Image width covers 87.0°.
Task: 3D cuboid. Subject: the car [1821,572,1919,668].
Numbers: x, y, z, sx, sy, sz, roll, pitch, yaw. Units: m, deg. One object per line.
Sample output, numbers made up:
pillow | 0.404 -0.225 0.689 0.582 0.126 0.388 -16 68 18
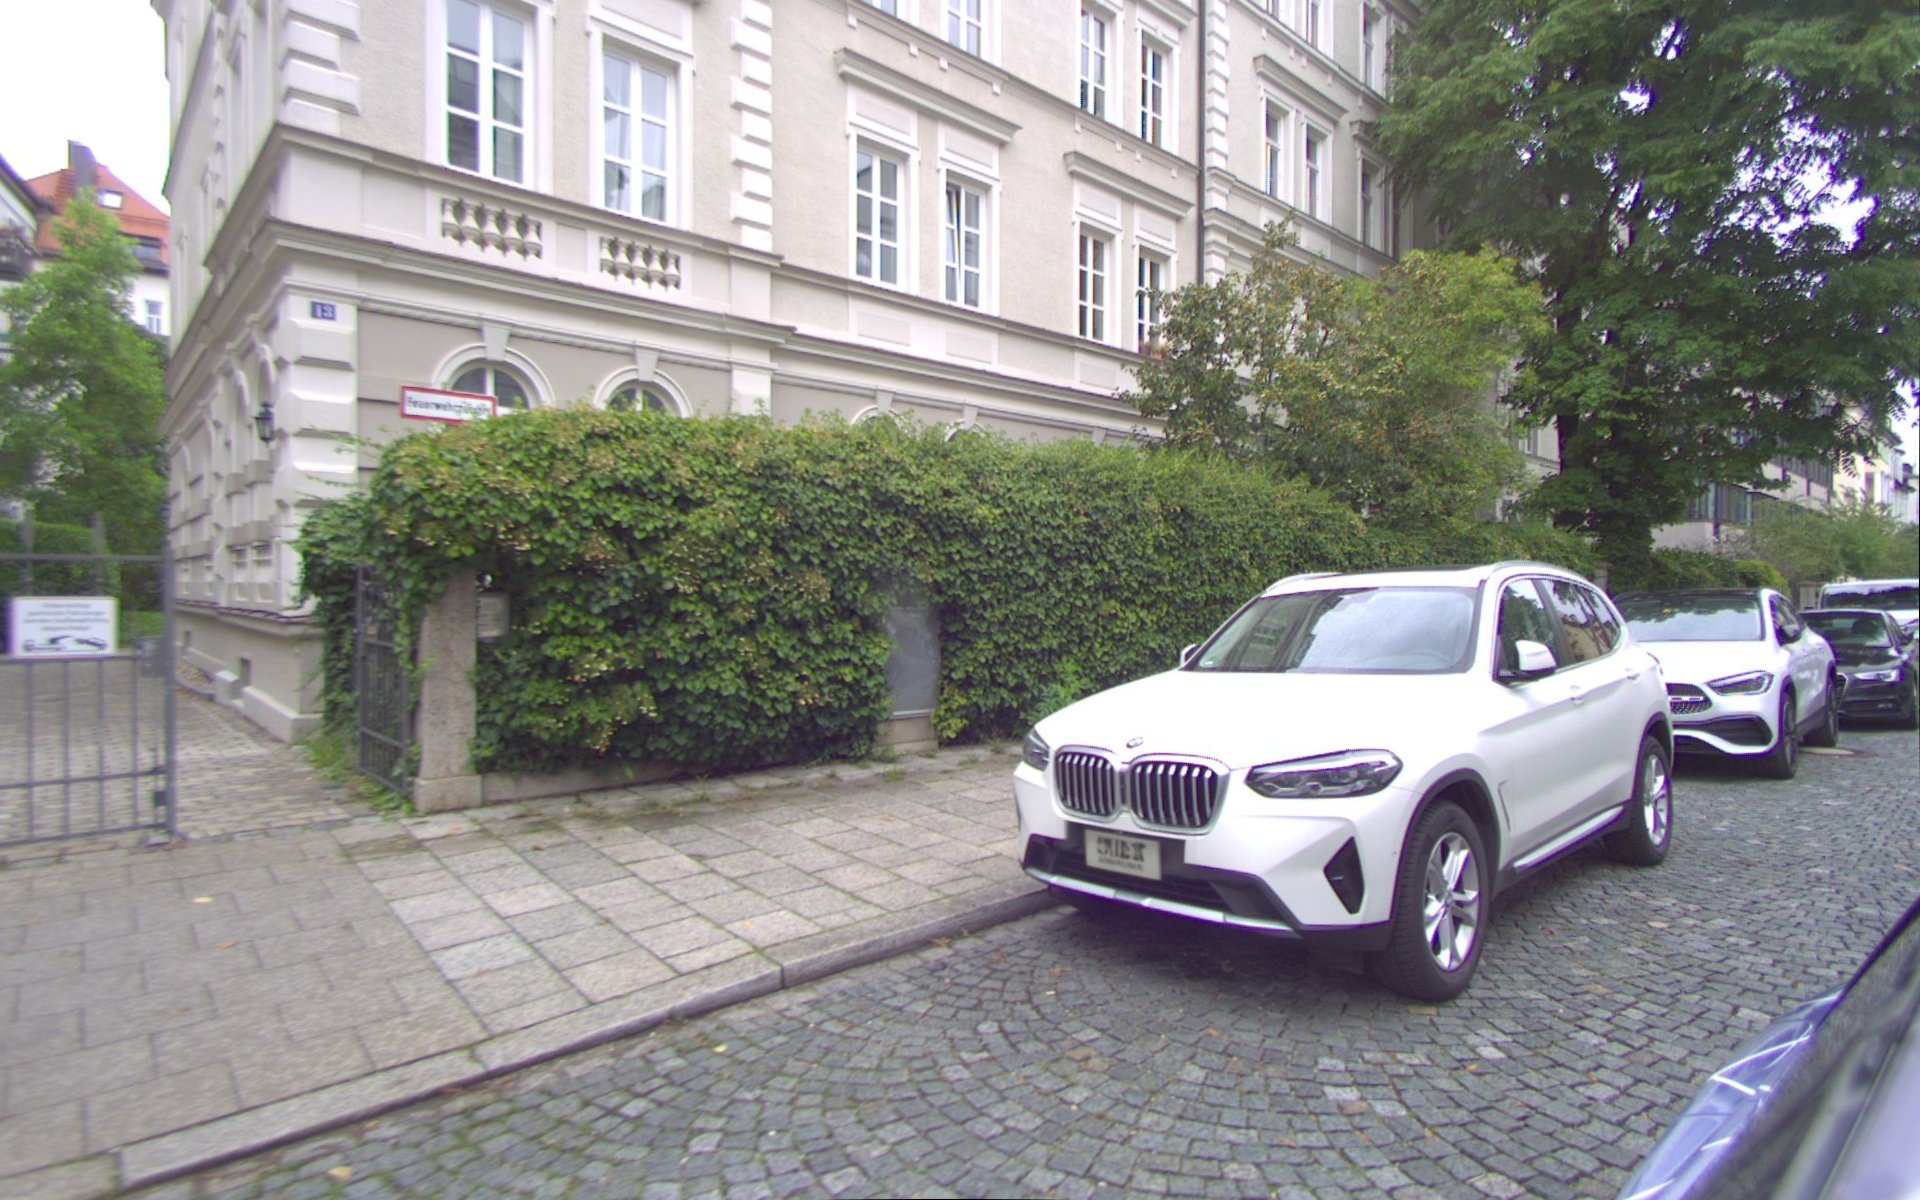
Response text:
car | 19.912 0.386 21.529 4.728 1.843 1.815 -1 -3 -43

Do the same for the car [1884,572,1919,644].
car | 28.874 0.214 29.828 3.931 2.039 1.997 -1 1 -41

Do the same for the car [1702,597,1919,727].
car | 11.216 0.650 12.944 4.728 1.314 1.921 -1 1 -43

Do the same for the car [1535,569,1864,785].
car | 7.248 0.546 9.733 4.397 1.620 1.749 -1 1 -43

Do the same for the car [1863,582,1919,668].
car | 24.054 0.561 25.120 3.931 2.039 1.997 -1 1 -41

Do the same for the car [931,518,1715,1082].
car | 2.207 0.550 5.299 4.554 1.706 1.923 -2 1 -41
